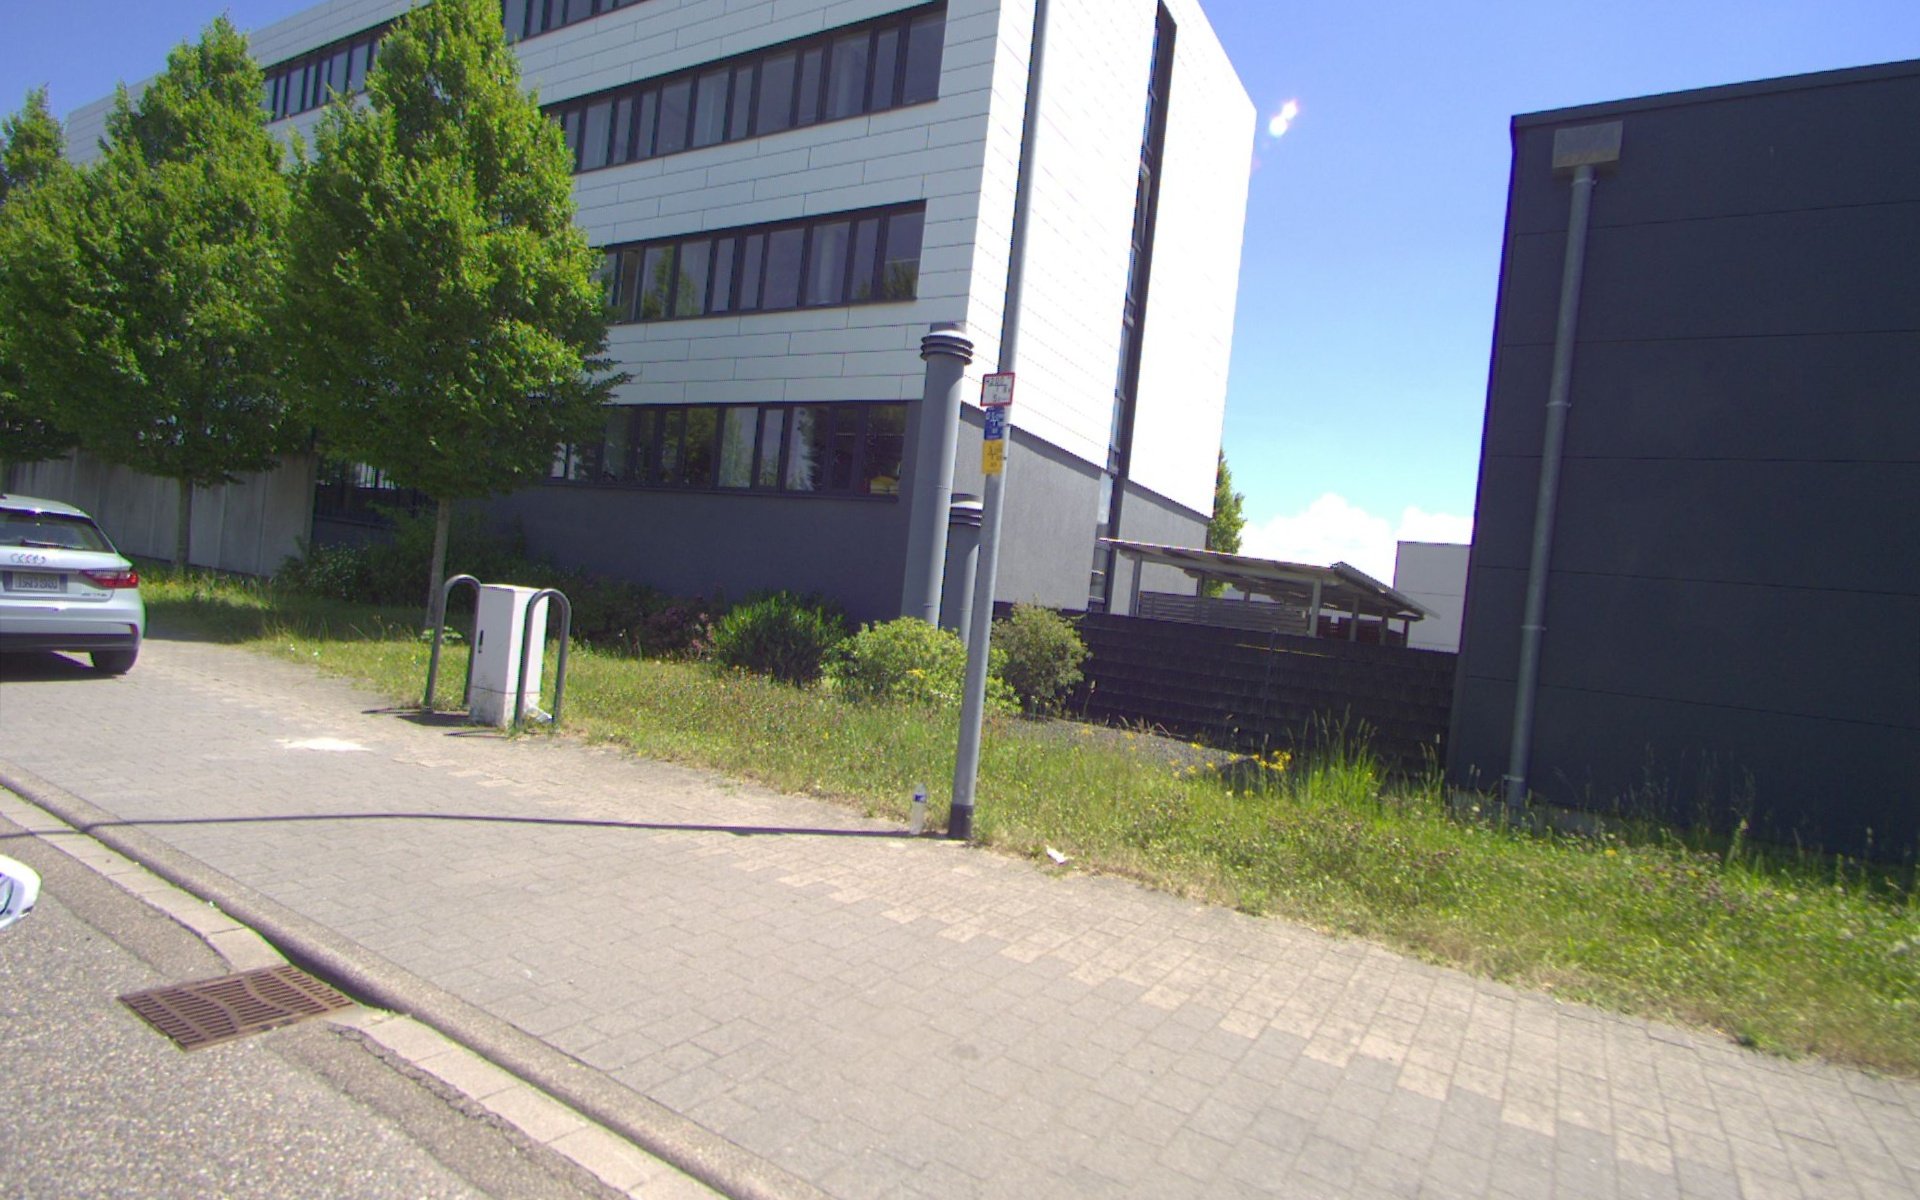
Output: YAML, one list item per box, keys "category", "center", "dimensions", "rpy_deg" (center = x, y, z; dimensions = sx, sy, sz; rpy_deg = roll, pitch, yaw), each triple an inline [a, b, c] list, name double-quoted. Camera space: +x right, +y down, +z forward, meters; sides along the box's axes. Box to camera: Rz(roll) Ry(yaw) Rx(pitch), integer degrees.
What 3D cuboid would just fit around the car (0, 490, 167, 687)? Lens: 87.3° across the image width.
- category: "car"
  center: [-8.693, -0.248, 8.658]
  dimensions: [3.886, 1.442, 1.716]
  rpy_deg: [7, 2, 32]
